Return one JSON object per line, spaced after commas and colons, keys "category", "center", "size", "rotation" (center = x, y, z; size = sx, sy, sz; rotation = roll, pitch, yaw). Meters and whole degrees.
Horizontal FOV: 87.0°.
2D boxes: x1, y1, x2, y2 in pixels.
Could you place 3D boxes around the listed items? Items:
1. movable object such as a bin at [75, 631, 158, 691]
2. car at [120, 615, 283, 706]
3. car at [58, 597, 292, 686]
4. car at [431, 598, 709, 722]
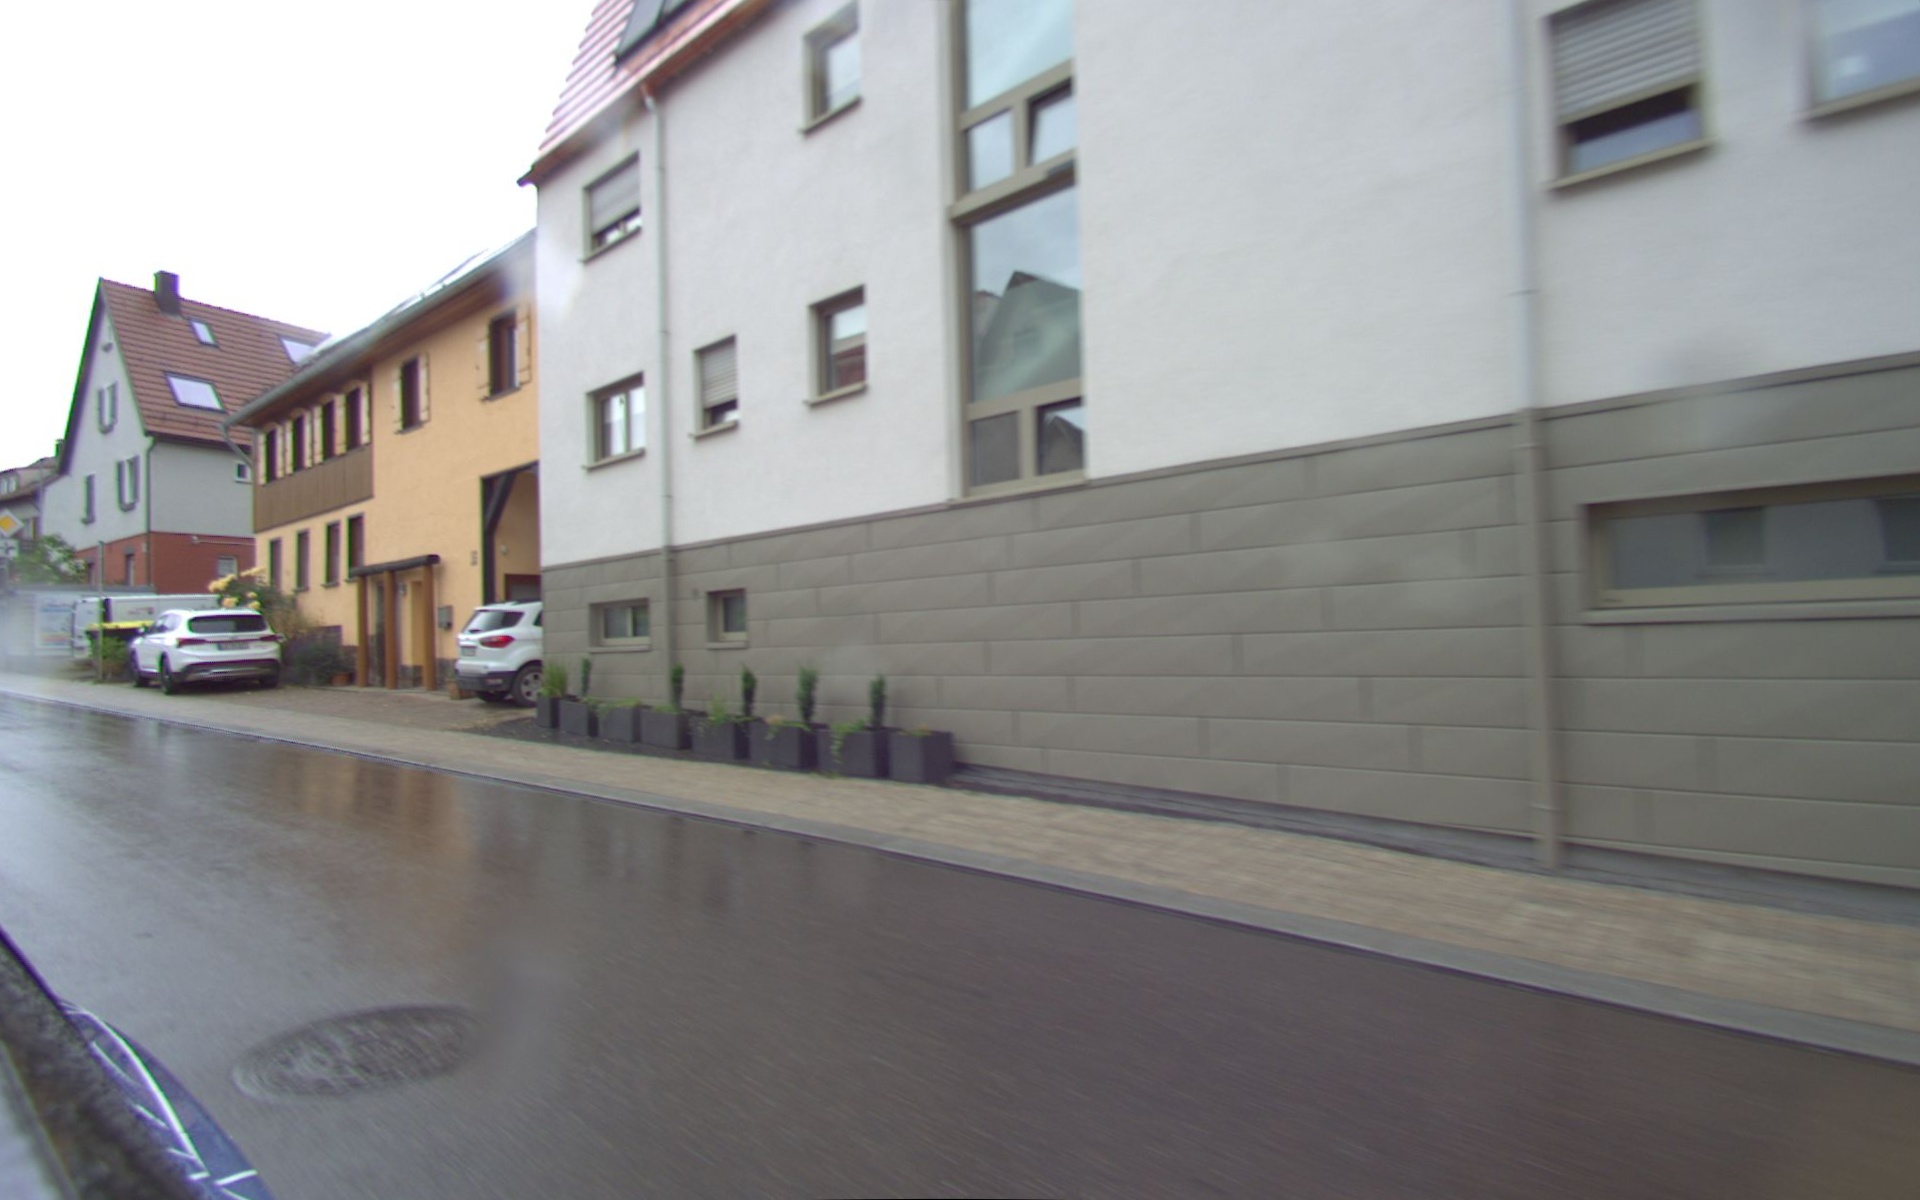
{"category": "movable object such as a bin", "center": [-20.132, 1.433, 24.156], "size": [0.994, 1.378, 1.275], "rotation": [-1, -2, 34]}
{"category": "car", "center": [-16.080, 1.207, 21.357], "size": [4.614, 1.719, 1.795], "rotation": [-2, -2, 41]}
{"category": "car", "center": [-20.847, 1.046, 27.089], "size": [1.991, 1.994, 4.481], "rotation": [-3, 1, 28]}
{"category": "car", "center": [-6.455, 0.908, 17.099], "size": [1.876, 1.682, 3.950], "rotation": [-2, 1, 38]}
